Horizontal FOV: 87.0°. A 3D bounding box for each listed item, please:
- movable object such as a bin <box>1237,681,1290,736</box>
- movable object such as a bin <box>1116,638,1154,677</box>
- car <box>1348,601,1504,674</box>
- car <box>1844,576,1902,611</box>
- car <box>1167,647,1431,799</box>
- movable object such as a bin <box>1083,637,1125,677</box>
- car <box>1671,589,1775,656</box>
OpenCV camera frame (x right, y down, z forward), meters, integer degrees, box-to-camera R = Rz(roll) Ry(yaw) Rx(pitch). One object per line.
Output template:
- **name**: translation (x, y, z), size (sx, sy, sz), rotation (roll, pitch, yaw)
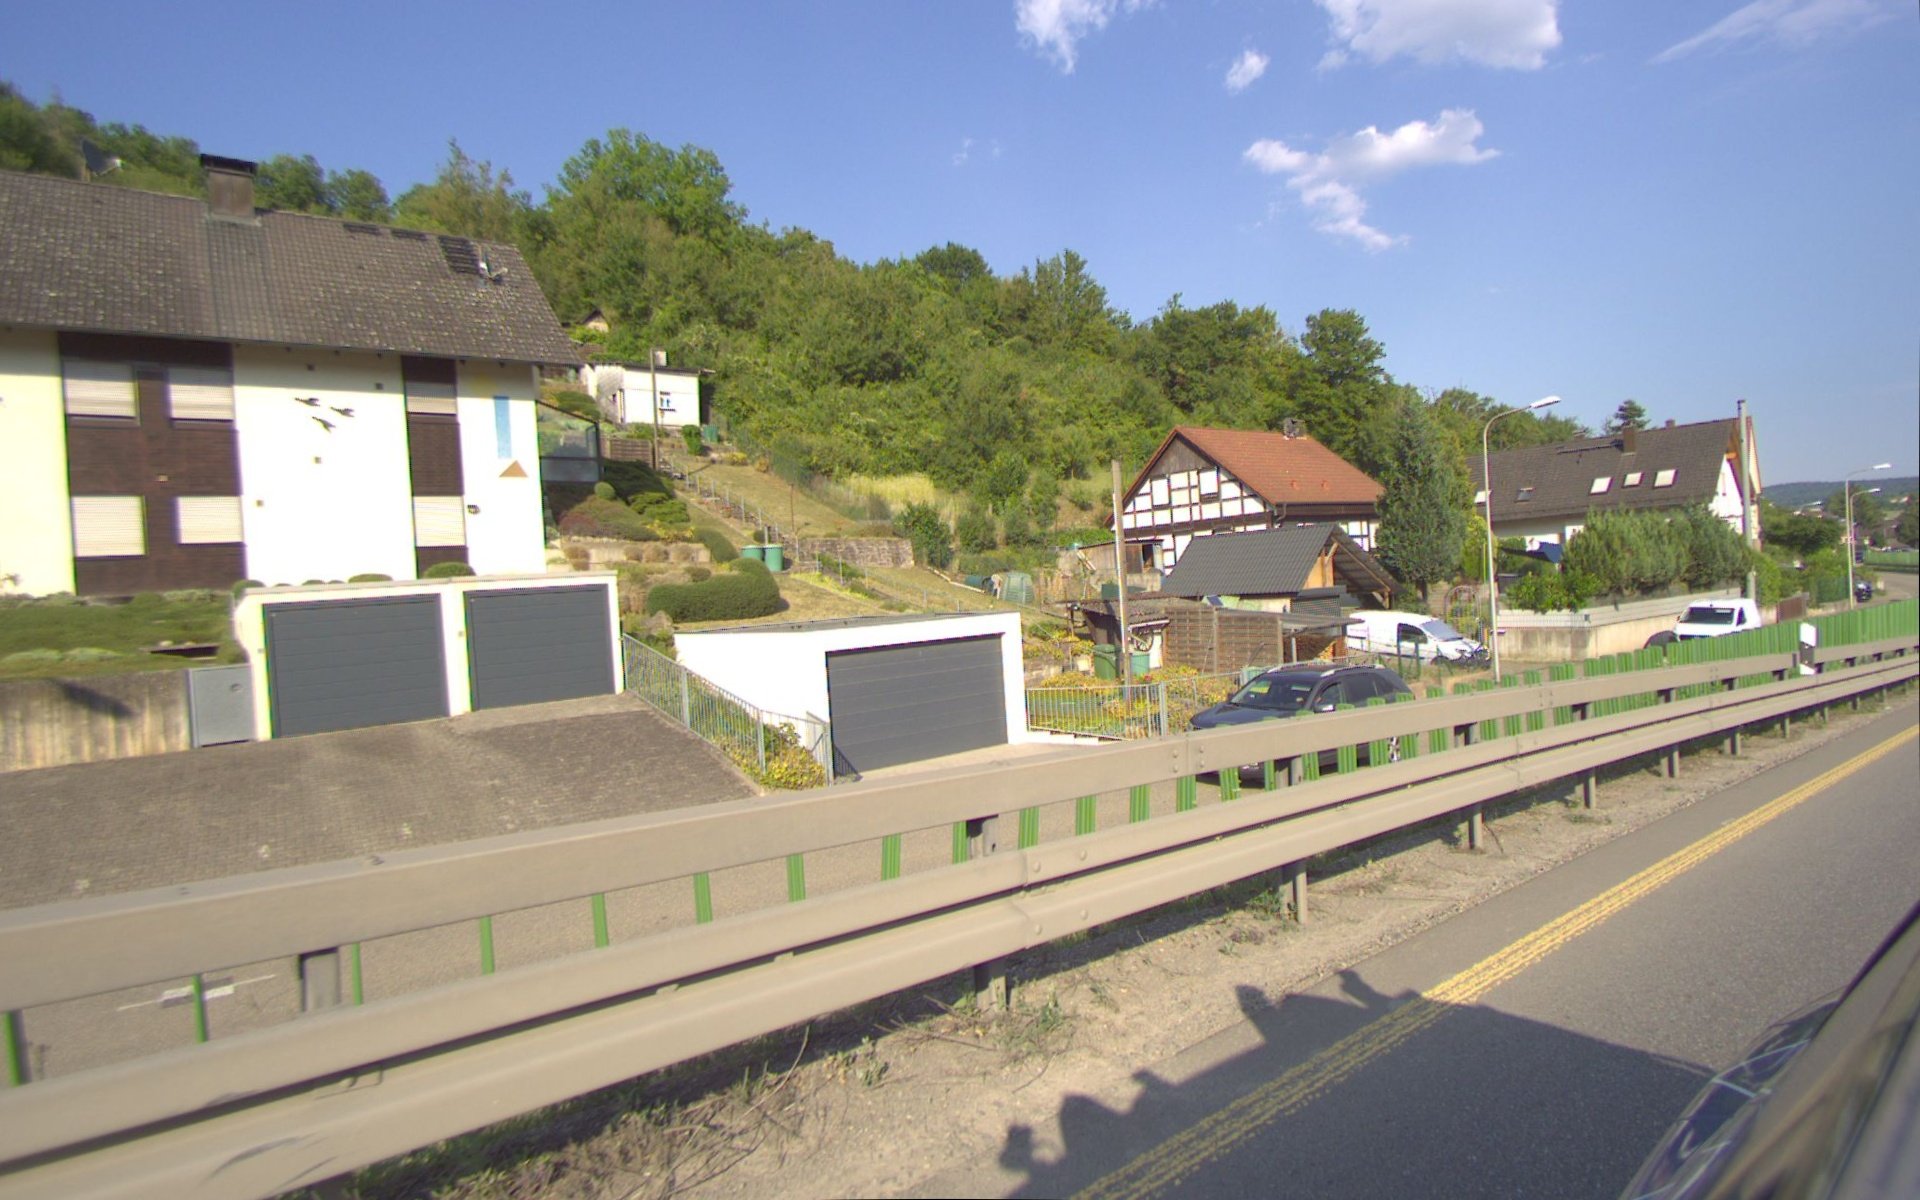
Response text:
- **movable object such as a bin**: translation (6.073, 2.158, 20.263), size (0.665, 1.014, 0.723), rotation (-1, -2, -39)
- **movable object such as a bin**: translation (4.423, 1.448, 25.550), size (0.668, 0.912, 0.687), rotation (0, 0, -41)
- **car**: translation (14.154, 1.077, 30.895), size (1.718, 1.861, 3.998), rotation (-2, 3, -38)
- **car**: translation (54.331, -0.394, 60.213), size (3.929, 2.039, 1.998), rotation (-1, 0, -39)
- **car**: translation (5.636, 1.868, 16.613), size (4.415, 1.807, 1.868), rotation (-3, 2, -36)
- **movable object such as a bin**: translation (3.516, 1.388, 24.699), size (0.668, 0.912, 0.791), rotation (0, 0, -41)
- **car**: translation (25.392, 0.709, 33.625), size (4.210, 1.966, 1.822), rotation (-3, 0, -40)
